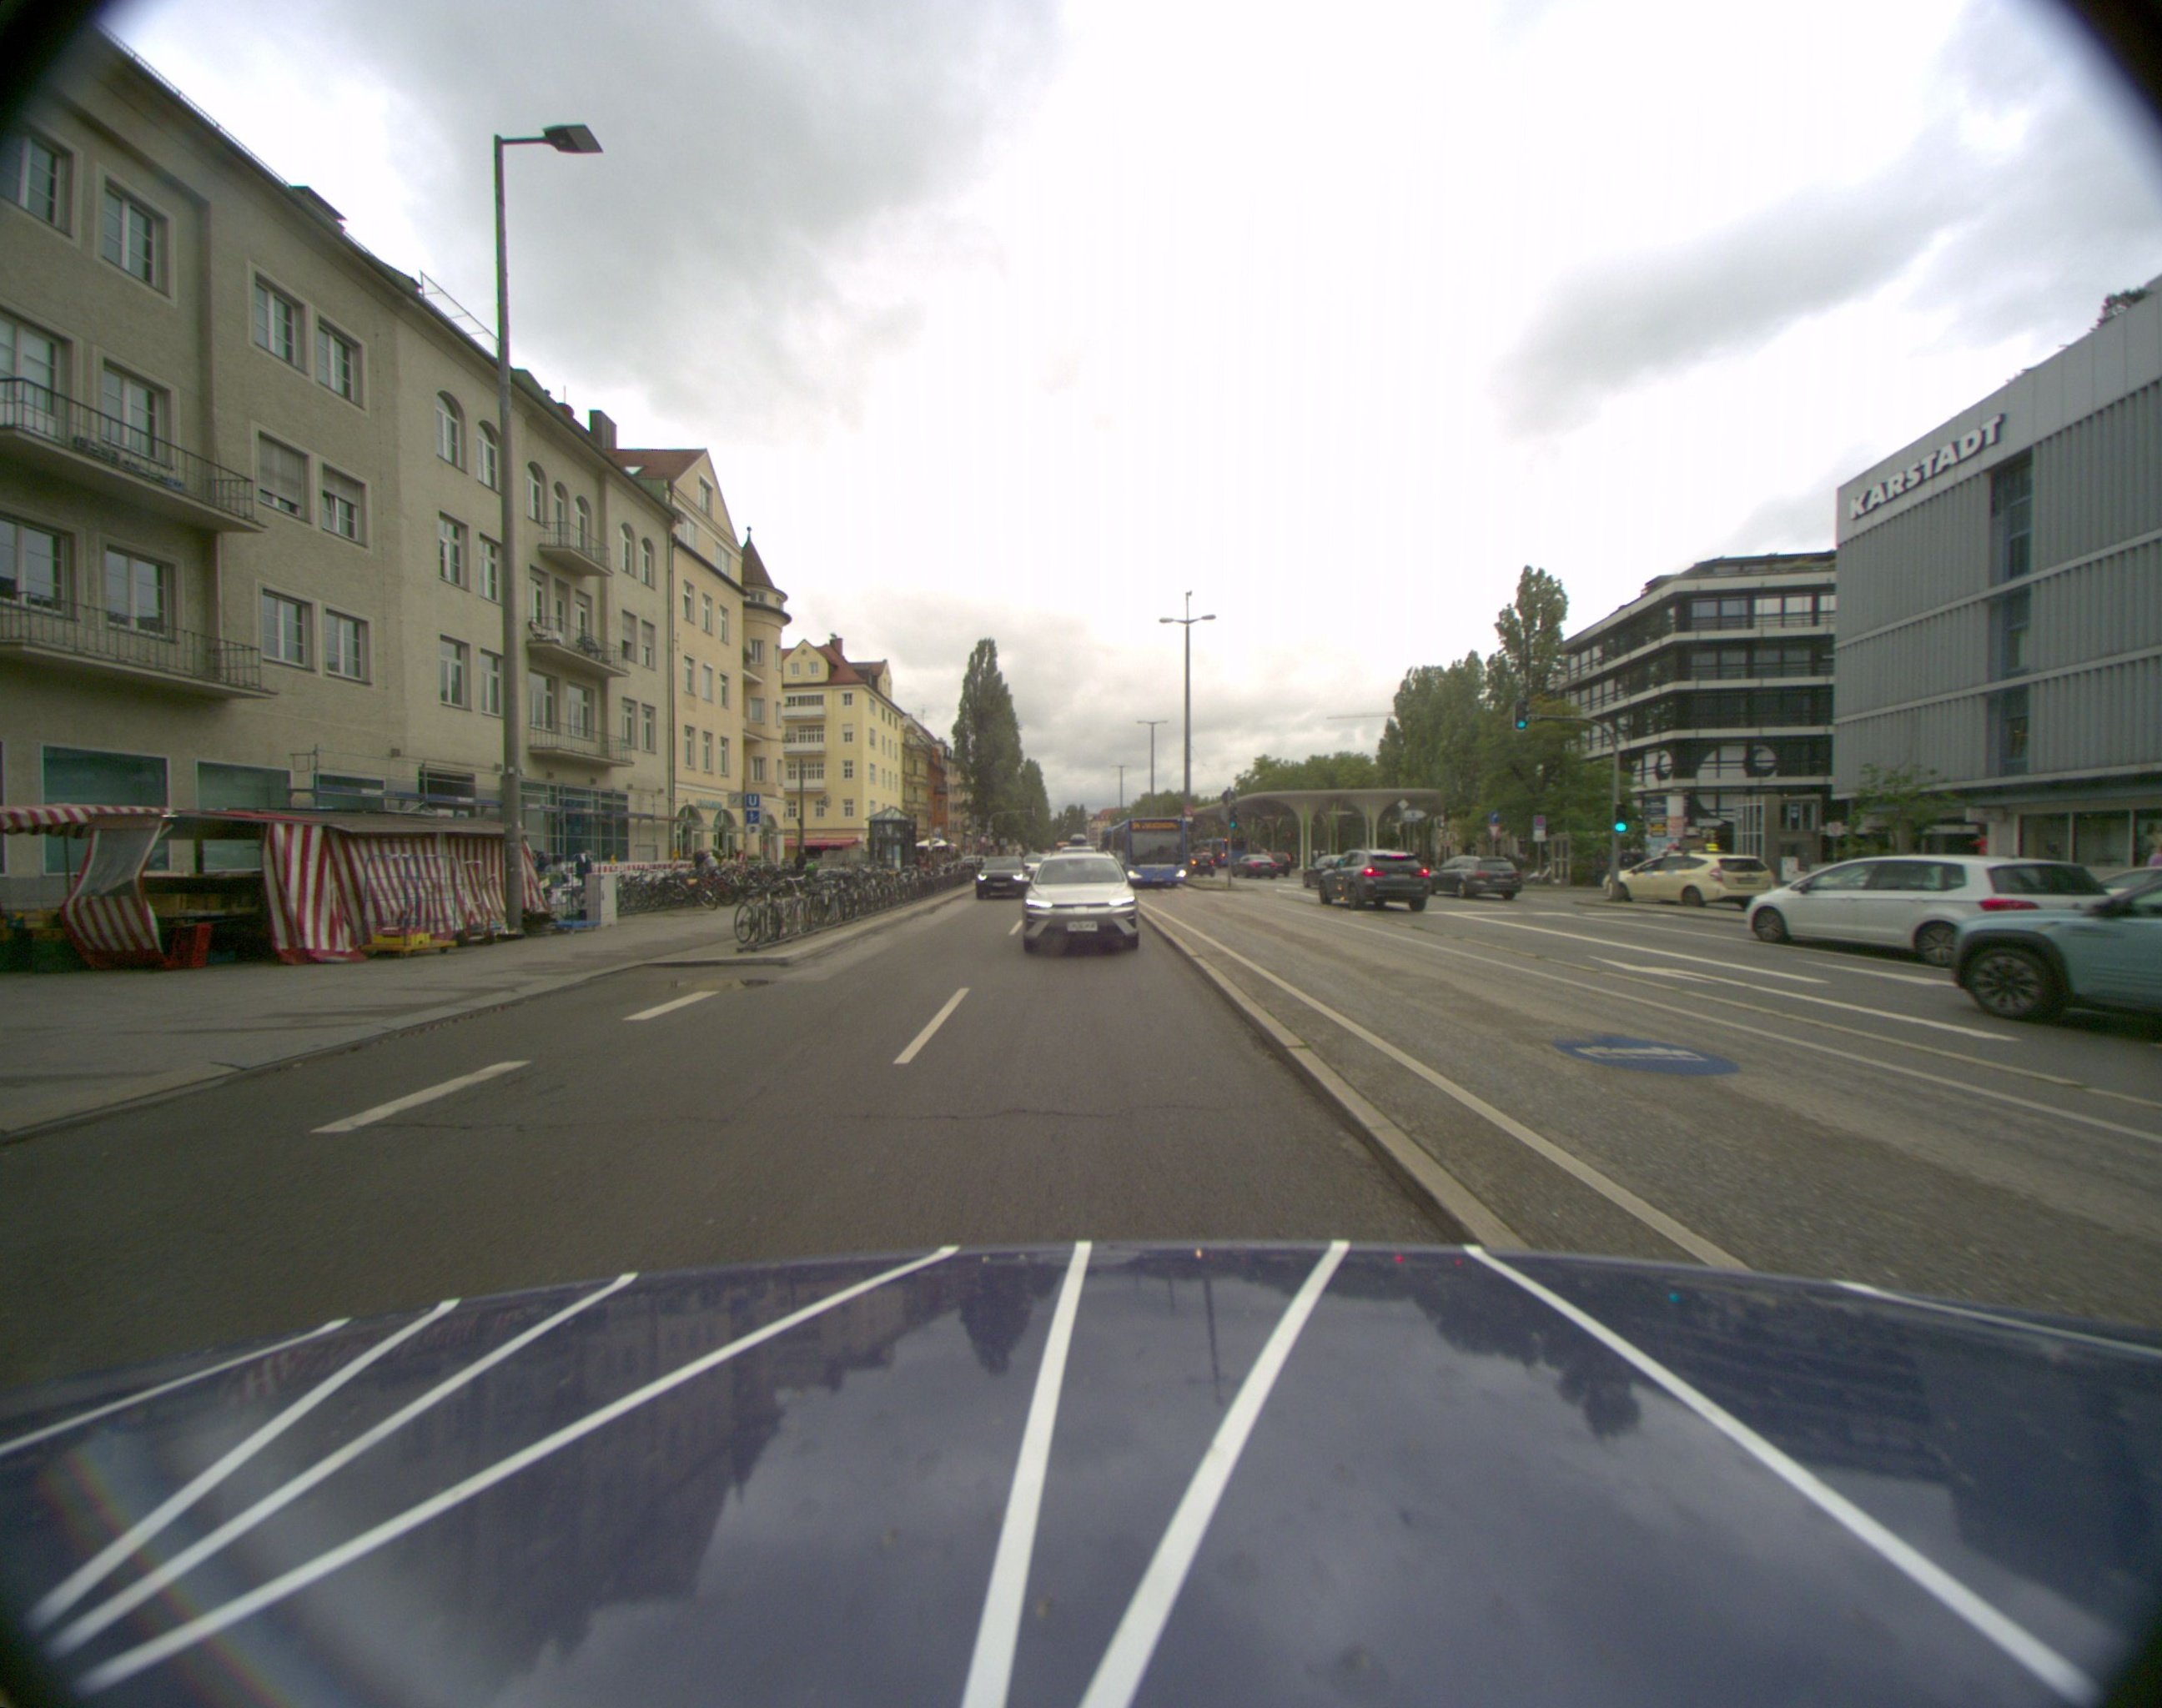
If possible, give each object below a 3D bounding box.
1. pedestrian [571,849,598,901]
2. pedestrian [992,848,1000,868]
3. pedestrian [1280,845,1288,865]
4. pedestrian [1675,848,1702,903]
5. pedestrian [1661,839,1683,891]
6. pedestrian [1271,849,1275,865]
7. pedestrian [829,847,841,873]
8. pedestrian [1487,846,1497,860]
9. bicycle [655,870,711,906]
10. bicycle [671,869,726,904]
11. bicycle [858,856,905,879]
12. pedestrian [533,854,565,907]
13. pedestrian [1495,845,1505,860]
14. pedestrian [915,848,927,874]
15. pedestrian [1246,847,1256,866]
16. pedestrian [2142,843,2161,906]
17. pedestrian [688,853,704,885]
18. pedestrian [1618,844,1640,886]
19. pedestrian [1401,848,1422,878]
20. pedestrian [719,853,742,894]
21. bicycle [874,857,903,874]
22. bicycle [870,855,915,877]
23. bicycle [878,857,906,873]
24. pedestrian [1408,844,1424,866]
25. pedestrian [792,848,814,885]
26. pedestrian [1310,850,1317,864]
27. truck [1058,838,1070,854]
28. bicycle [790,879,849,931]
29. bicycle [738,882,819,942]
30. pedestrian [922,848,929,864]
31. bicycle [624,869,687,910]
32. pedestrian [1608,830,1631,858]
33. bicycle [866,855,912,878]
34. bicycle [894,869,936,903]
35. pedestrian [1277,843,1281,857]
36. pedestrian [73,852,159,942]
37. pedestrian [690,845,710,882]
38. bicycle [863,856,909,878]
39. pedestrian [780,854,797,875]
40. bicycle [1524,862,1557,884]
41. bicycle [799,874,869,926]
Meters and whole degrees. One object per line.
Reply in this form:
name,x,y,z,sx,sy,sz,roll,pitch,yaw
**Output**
pedestrian,-16.213,0.672,24.822,0.539,1.665,0.506,0,2,38
pedestrian,-7.985,0.387,71.296,0.732,1.792,0.710,0,3,-9
pedestrian,18.683,0.051,69.855,0.666,1.840,0.789,0,1,20
pedestrian,19.608,0.688,24.539,0.525,1.719,0.428,-2,2,-1
pedestrian,18.929,0.344,24.329,0.365,1.646,0.425,-2,2,-1
pedestrian,18.654,0.296,73.833,0.320,1.493,0.317,0,1,-9
pedestrian,-16.490,0.414,50.940,0.589,1.691,0.567,0,2,10
pedestrian,48.318,-0.137,89.377,0.800,1.714,0.827,0,1,11
bicycle,-12.087,1.035,23.105,1.453,1.071,0.410,1,1,-9
bicycle,-11.939,1.018,23.737,1.453,1.071,0.410,1,1,-9
bicycle,-10.603,0.715,40.457,2.317,1.220,0.628,0,1,2
pedestrian,-15.752,0.769,22.503,0.560,1.531,0.466,-2,2,1
pedestrian,49.272,-0.168,89.439,0.800,1.714,0.827,0,1,11
pedestrian,-10.897,0.479,51.836,0.641,1.767,0.609,-1,1,-23
pedestrian,15.433,0.205,68.899,0.711,1.738,0.788,0,1,-1
pedestrian,26.767,0.504,18.445,0.732,1.537,0.900,0,1,13
pedestrian,-18.858,0.710,37.237,0.567,1.533,0.589,-2,3,-36
pedestrian,23.068,0.453,31.984,0.562,1.768,0.510,-2,2,3
pedestrian,17.884,0.483,41.107,0.640,1.543,0.759,-3,2,-25
pedestrian,-13.790,0.764,29.880,0.661,1.573,0.536,0,1,-3
bicycle,-13.302,0.793,52.501,1.822,1.121,0.610,0,0,12
bicycle,-10.526,0.673,42.472,2.317,1.220,0.628,0,1,2
bicycle,-13.211,0.777,53.149,1.822,1.121,0.610,0,0,12
pedestrian,26.430,0.079,59.961,0.861,1.767,0.980,0,1,1
pedestrian,-12.921,0.588,35.360,0.741,1.698,0.703,-1,1,-41
pedestrian,22.154,0.323,72.427,0.549,1.330,0.592,0,1,-1
truck,-3.781,-1.884,170.025,2.541,3.468,7.750,0,1,0
bicycle,-5.693,1.109,16.460,1.797,1.048,0.368,-5,-1,44
bicycle,-5.777,1.109,14.446,1.797,1.048,0.548,-4,-1,38
pedestrian,-16.237,0.223,79.231,0.552,1.675,0.585,0,1,1
bicycle,-12.000,0.989,21.420,1.632,1.097,0.410,1,1,9
pedestrian,25.328,-0.447,35.726,0.544,1.301,0.774,0,1,1
bicycle,-10.544,0.687,41.754,2.317,1.220,0.628,0,1,2
bicycle,-5.593,1.083,25.549,0.398,1.053,1.848,-3,-1,-45
pedestrian,19.126,-0.376,73.412,0.303,1.369,0.270,0,1,-2
pedestrian,-18.129,0.783,14.289,0.602,1.641,0.765,0,1,5
pedestrian,-18.021,0.423,35.954,0.618,1.728,0.644,1,1,-1
bicycle,-10.547,0.700,41.091,2.317,1.220,0.628,0,1,2
pedestrian,-18.136,0.662,47.194,0.701,1.238,0.918,0,2,-1
bicycle,21.558,0.907,35.650,1.298,1.010,0.419,0,1,-2
bicycle,-5.588,1.050,17.146,1.797,1.098,0.548,-4,-1,38
